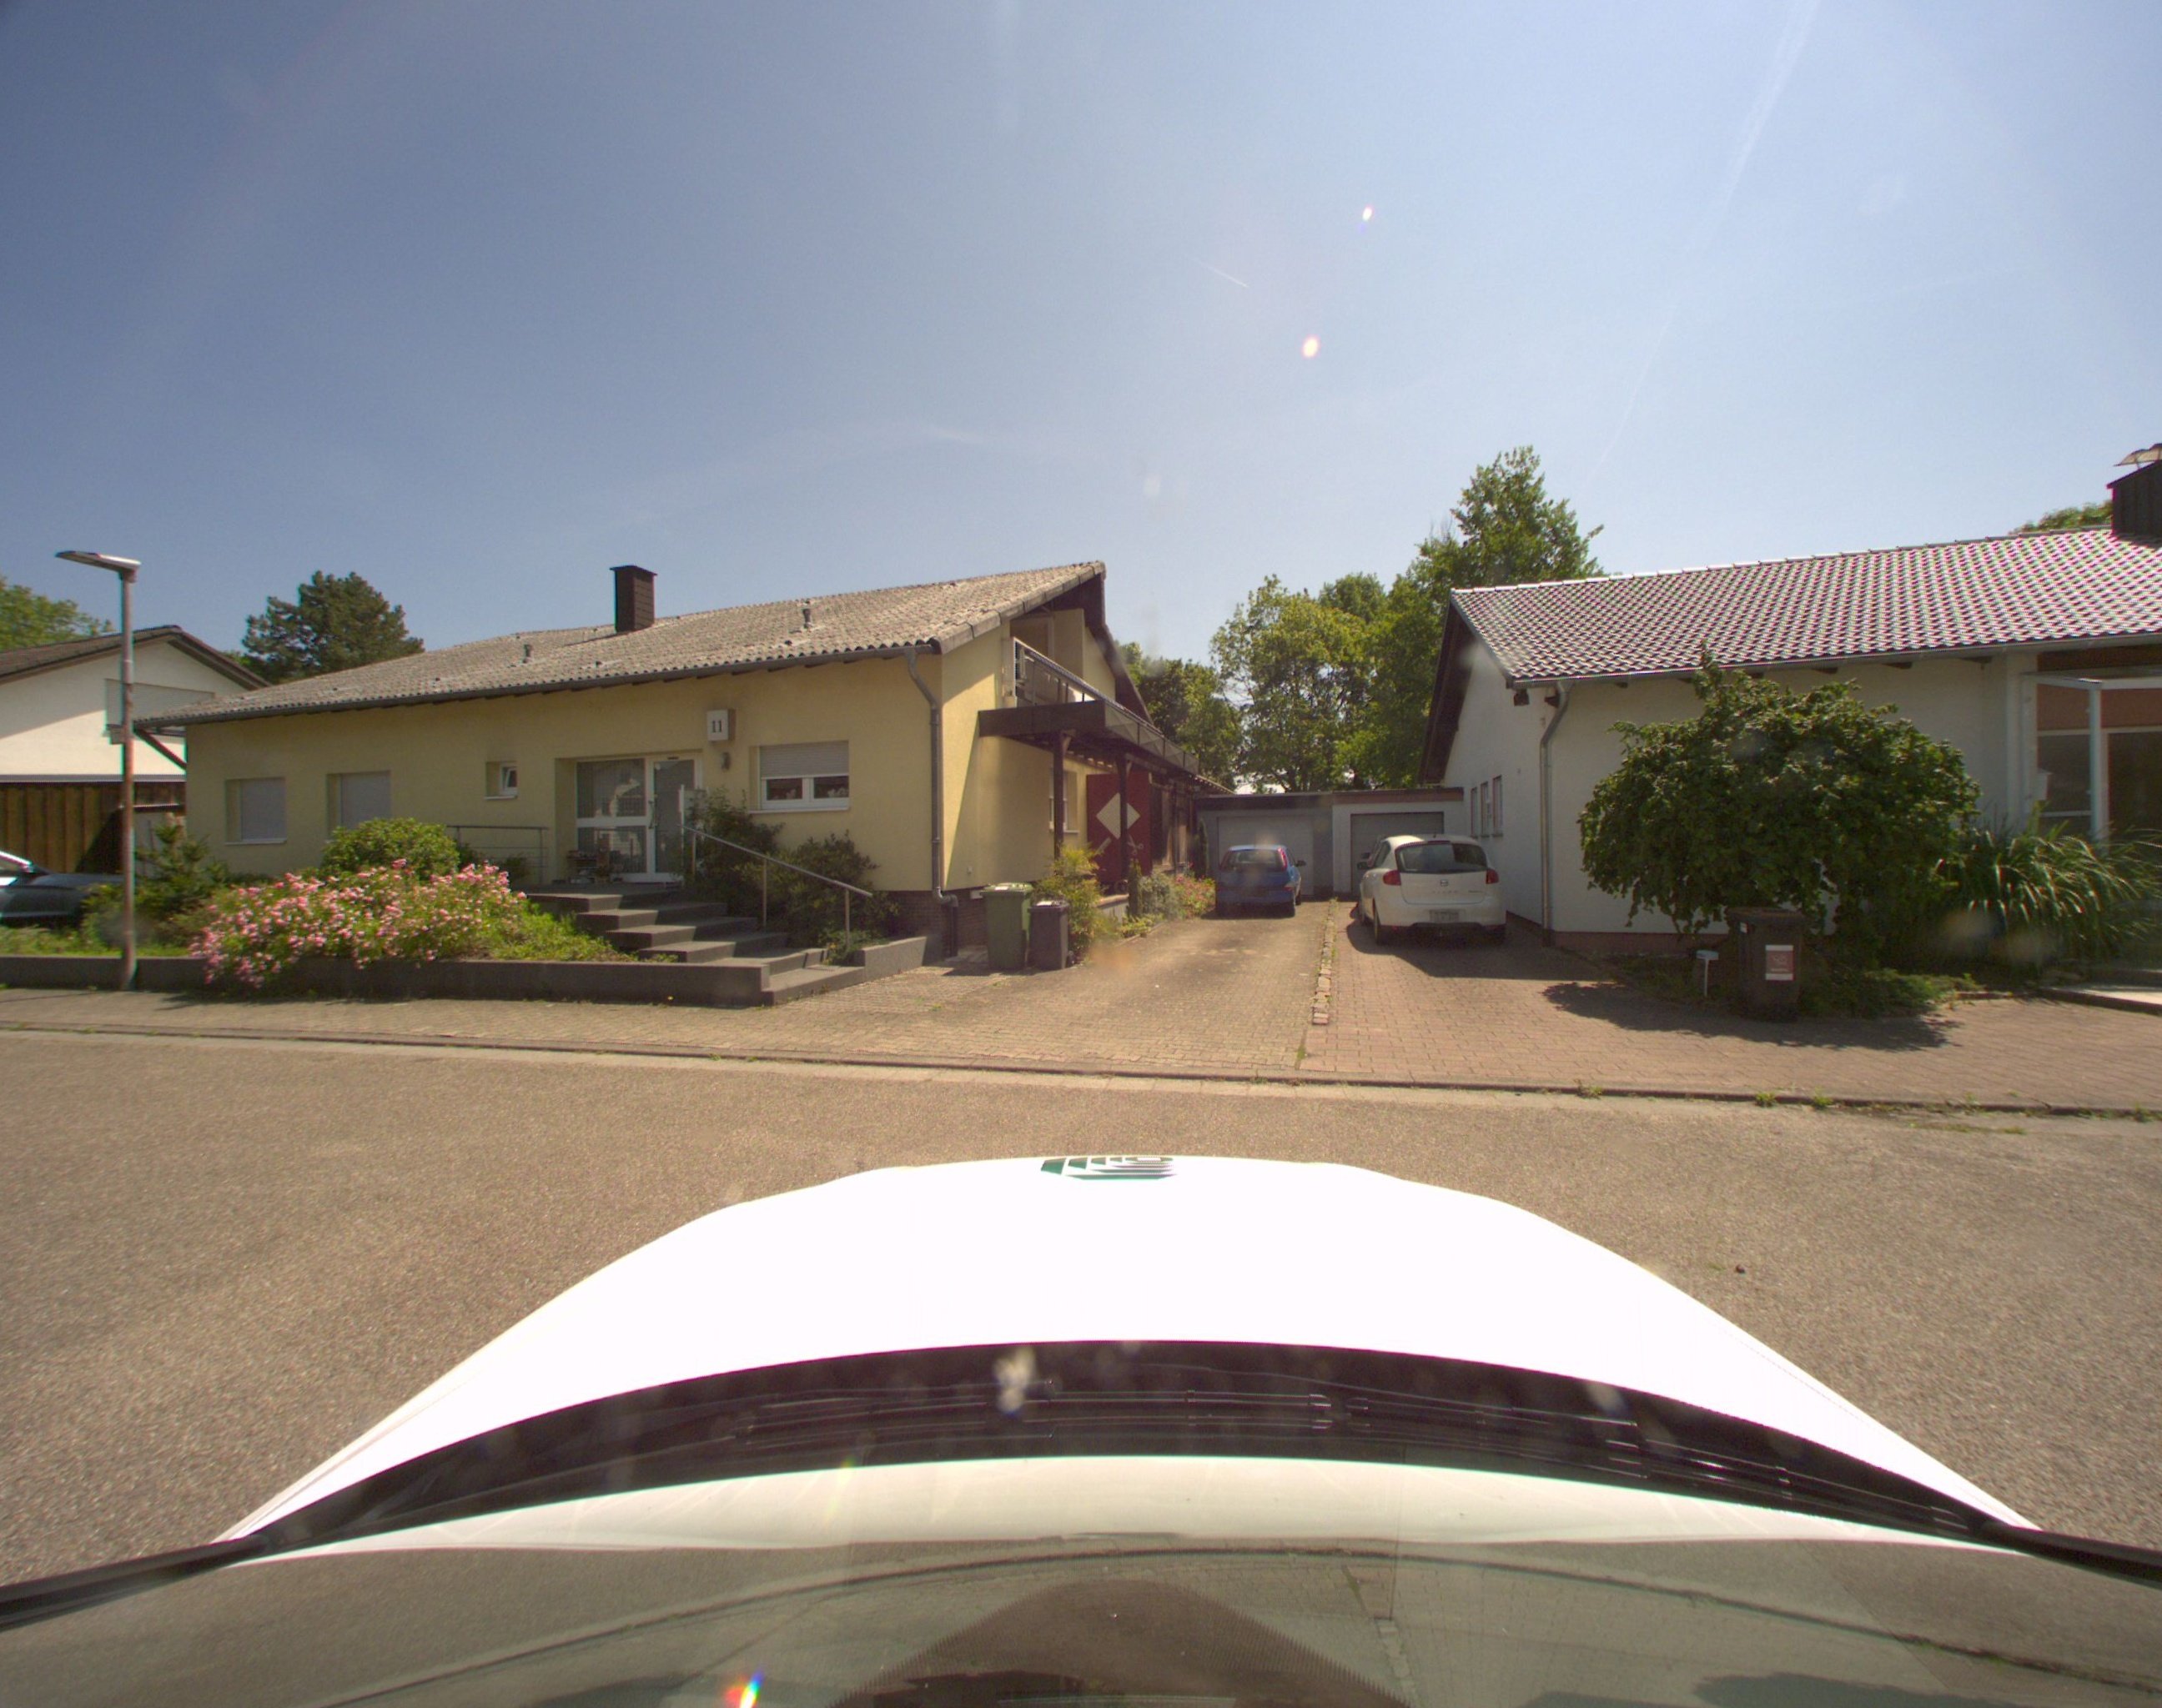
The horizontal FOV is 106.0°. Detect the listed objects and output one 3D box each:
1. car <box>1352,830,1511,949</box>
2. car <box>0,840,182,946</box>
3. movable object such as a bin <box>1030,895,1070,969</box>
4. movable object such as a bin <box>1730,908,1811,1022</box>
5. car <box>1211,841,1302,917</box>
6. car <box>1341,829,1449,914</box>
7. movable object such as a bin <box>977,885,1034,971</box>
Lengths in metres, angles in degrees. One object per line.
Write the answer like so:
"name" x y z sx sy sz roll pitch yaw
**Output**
"car" 5.347 0.455 12.911 1.733 1.568 4.016 -1 1 15
"car" -18.682 0.683 13.531 1.689 1.702 4.667 -1 2 21
"movable object such as a bin" -0.390 0.977 10.281 0.404 0.891 0.427 -2 0 10
"movable object such as a bin" 5.732 0.911 6.784 0.371 0.891 0.392 -2 0 17
"car" 3.912 0.474 17.792 1.602 1.454 3.269 0 2 18
"car" 6.654 0.304 17.575 1.907 1.607 4.019 -2 1 18
"movable object such as a bin" -0.961 0.939 10.422 0.587 1.041 0.493 -2 0 10
